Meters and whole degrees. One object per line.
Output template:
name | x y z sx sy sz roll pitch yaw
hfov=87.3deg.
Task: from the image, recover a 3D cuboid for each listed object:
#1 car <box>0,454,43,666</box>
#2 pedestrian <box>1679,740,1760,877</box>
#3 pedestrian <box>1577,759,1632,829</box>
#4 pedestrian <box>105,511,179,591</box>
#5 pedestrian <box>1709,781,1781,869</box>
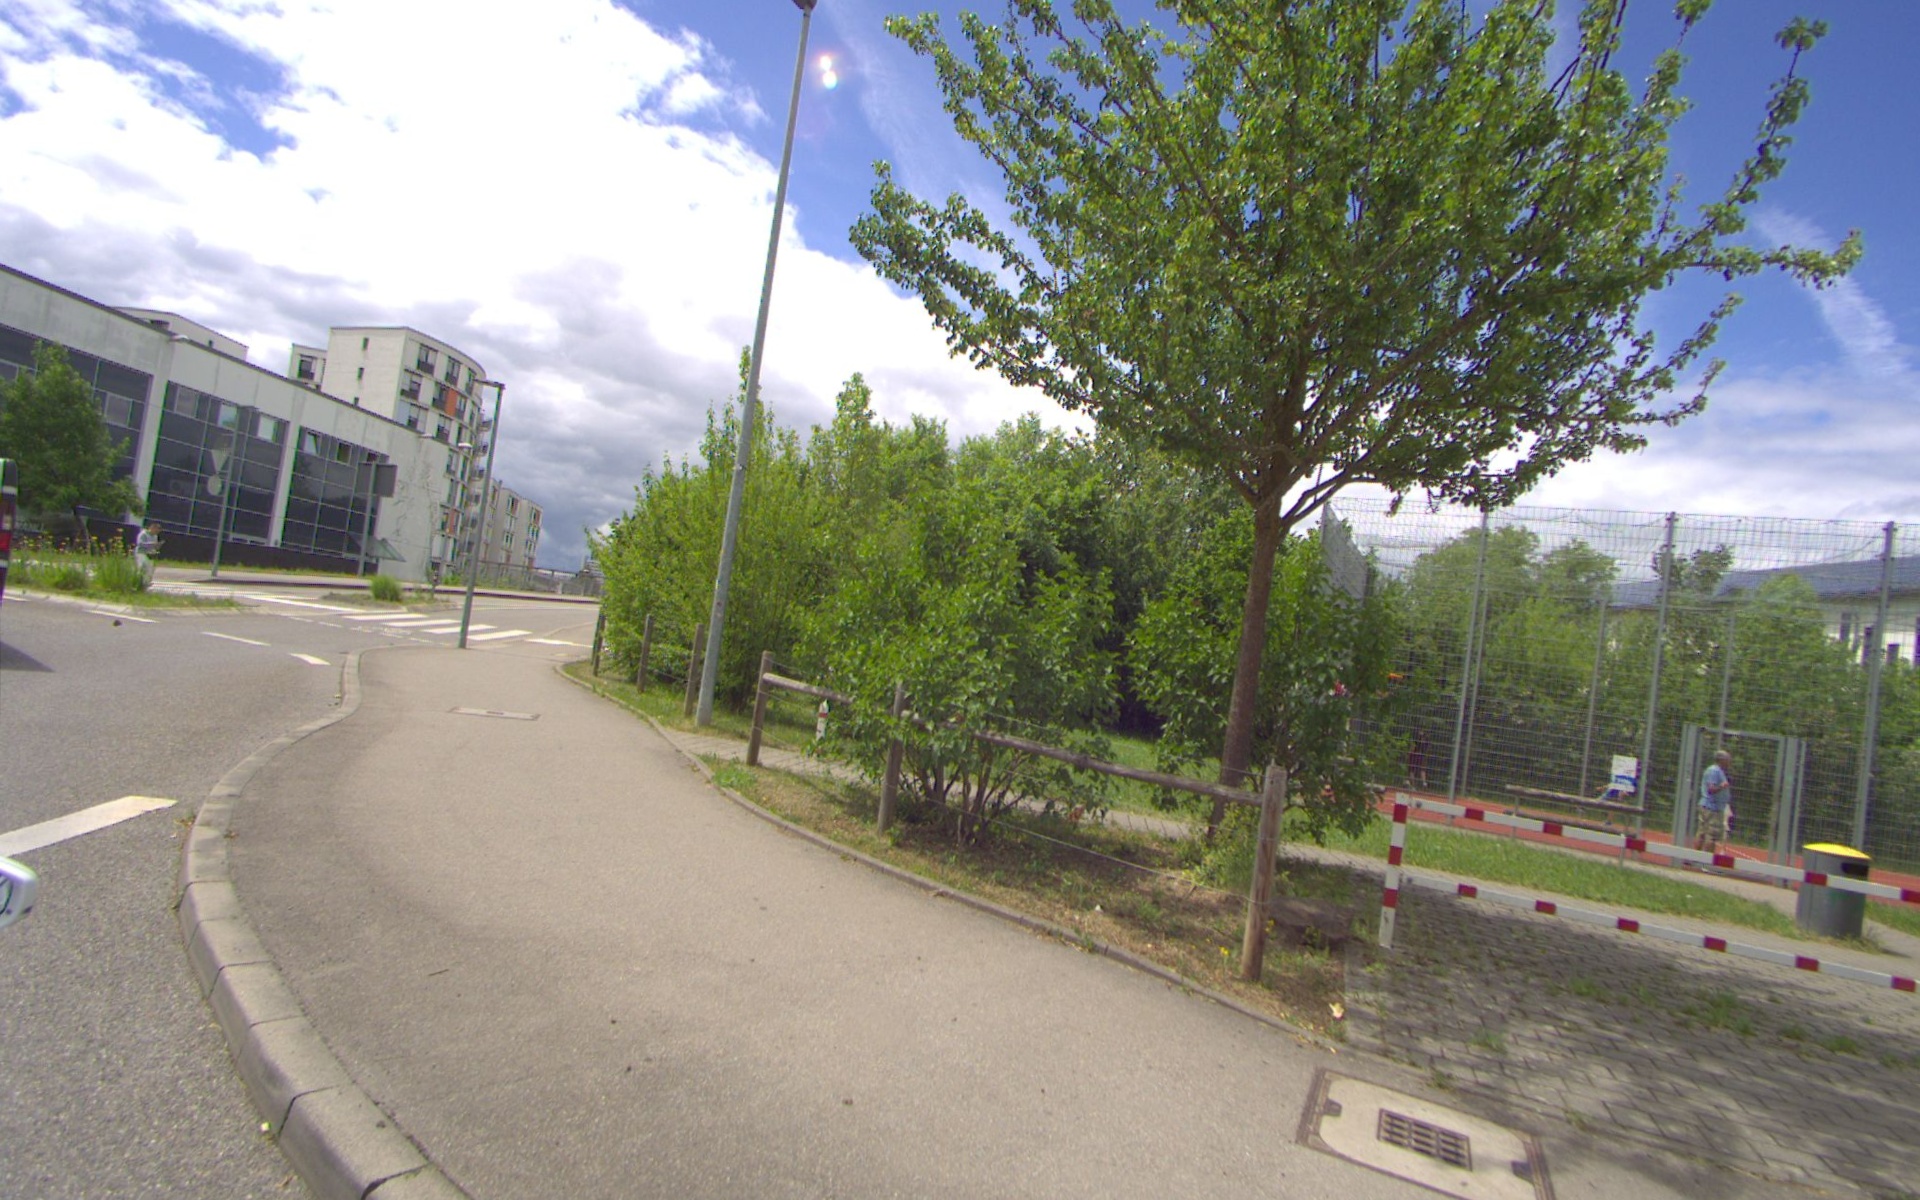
car | -11.471 -0.660 10.350 4.921 1.965 2.037 5 -6 39
pedestrian | 11.220 3.062 14.881 0.738 1.858 0.553 6 -4 28
pedestrian | 13.959 4.201 21.799 0.458 1.360 0.792 11 -5 -33
pedestrian | -17.959 -1.059 22.098 1.031 1.556 0.886 12 -5 -39
pedestrian | 13.814 3.941 17.707 0.783 1.360 0.463 8 -4 7
